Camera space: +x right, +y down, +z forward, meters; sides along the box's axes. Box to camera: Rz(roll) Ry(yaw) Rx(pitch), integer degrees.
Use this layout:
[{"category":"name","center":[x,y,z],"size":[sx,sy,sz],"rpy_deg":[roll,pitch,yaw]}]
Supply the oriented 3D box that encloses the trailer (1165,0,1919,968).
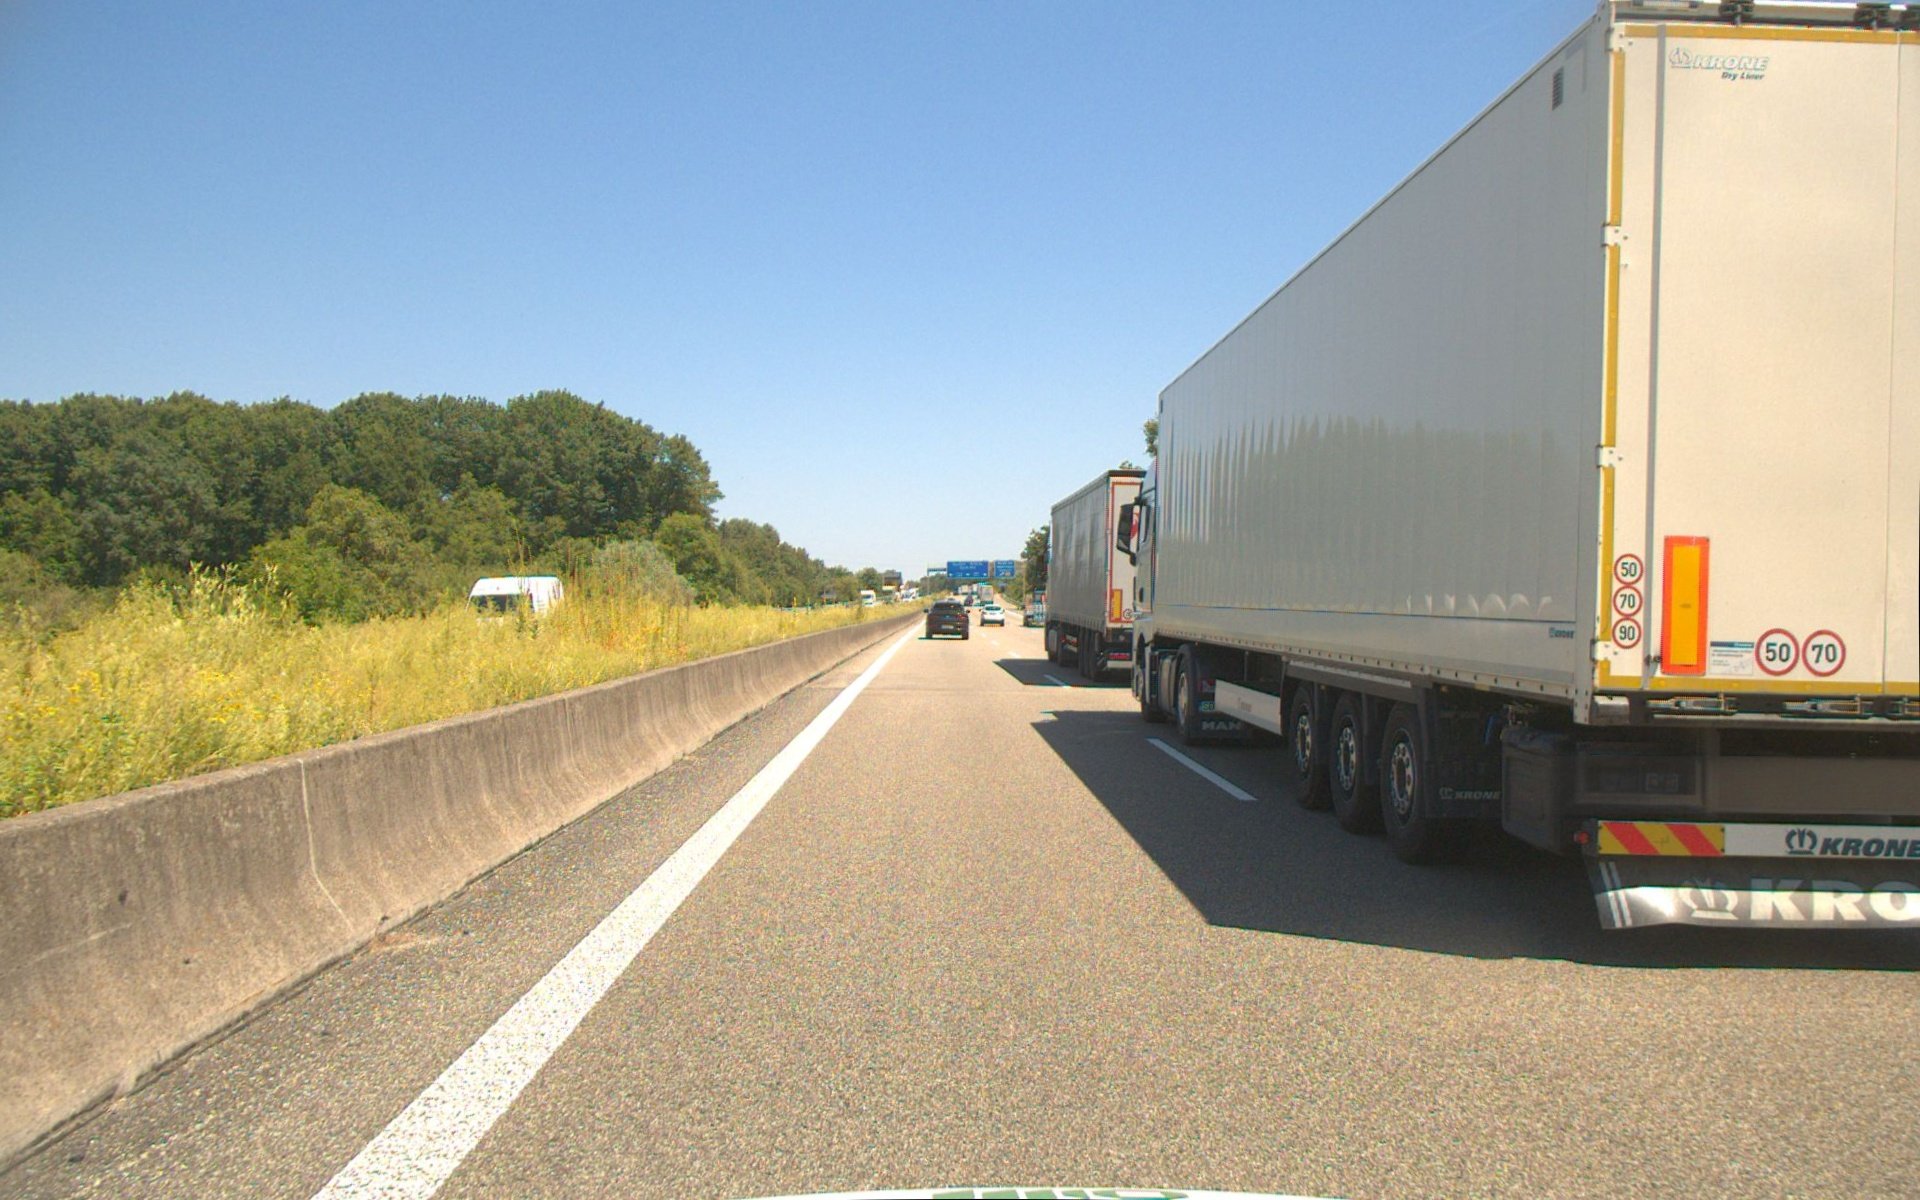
[{"category":"trailer","center":[3.912,-0.532,13.092],"size":[2.738,4.106,12.564],"rpy_deg":[1,0,-1]}]

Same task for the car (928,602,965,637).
[{"category":"car","center":[-0.629,0.863,75.721],"size":[1.626,1.576,3.782],"rpy_deg":[0,0,-2]}]

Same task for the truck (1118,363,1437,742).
[{"category":"truck","center":[3.748,-0.508,20.978],"size":[2.743,4.077,6.019],"rpy_deg":[1,0,-1]}]

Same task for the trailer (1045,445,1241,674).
[{"category":"trailer","center":[3.730,-0.666,37.642],"size":[2.652,4.139,14.743],"rpy_deg":[1,-1,-1]}]

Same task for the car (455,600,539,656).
[{"category":"car","center":[-17.811,1.030,63.862],"size":[1.843,2.049,5.074],"rpy_deg":[0,0,-1]}]

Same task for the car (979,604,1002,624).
[{"category":"car","center":[2.362,1.114,129.254],"size":[1.704,1.512,3.999],"rpy_deg":[1,0,0]}]

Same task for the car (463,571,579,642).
[{"category":"car","center":[-13.792,0.197,52.390],"size":[1.953,2.049,6.555],"rpy_deg":[2,0,-1]}]

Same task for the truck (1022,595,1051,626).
[{"category":"truck","center":[6.084,0.822,132.015],"size":[1.953,2.415,4.643],"rpy_deg":[1,0,-1]}]

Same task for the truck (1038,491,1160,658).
[{"category":"truck","center":[3.667,-0.615,44.954],"size":[2.645,4.166,6.452],"rpy_deg":[1,-1,-1]}]

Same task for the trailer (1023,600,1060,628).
[{"category":"trailer","center":[6.198,1.042,126.652],"size":[2.371,2.049,6.032],"rpy_deg":[1,0,-1]}]
